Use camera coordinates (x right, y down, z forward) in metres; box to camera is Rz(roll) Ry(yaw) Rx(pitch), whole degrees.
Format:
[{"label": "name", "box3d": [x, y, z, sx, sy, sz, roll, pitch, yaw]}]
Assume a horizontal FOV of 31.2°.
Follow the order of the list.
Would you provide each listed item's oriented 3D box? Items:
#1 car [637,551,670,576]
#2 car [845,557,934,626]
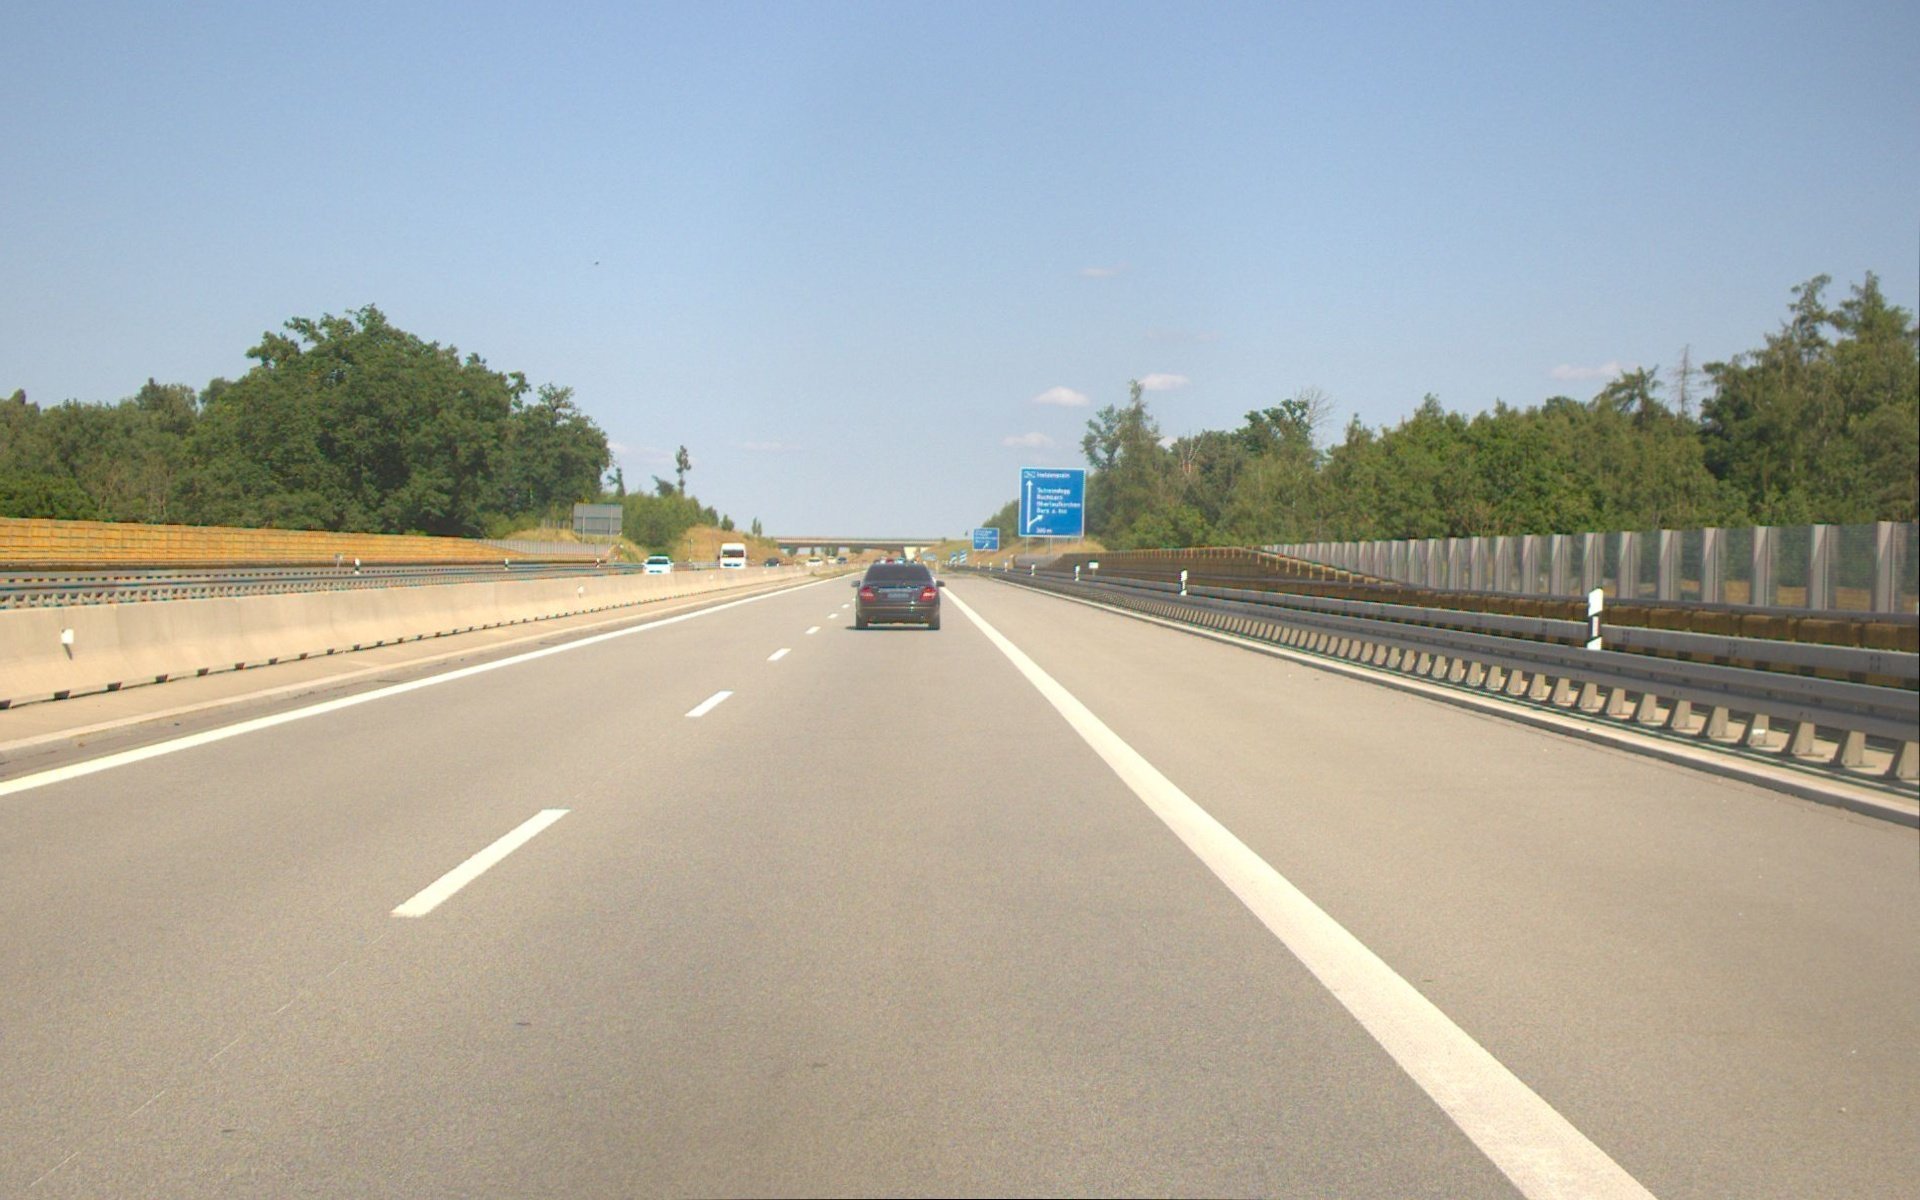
[{"label": "car", "box3d": [-18.560, -2.199, 208.356, 1.647, 1.503, 4.332, 1, 1, 0]}, {"label": "car", "box3d": [-1.460, -0.194, 72.393, 1.790, 1.369, 3.917, 1, 1, 0]}]
